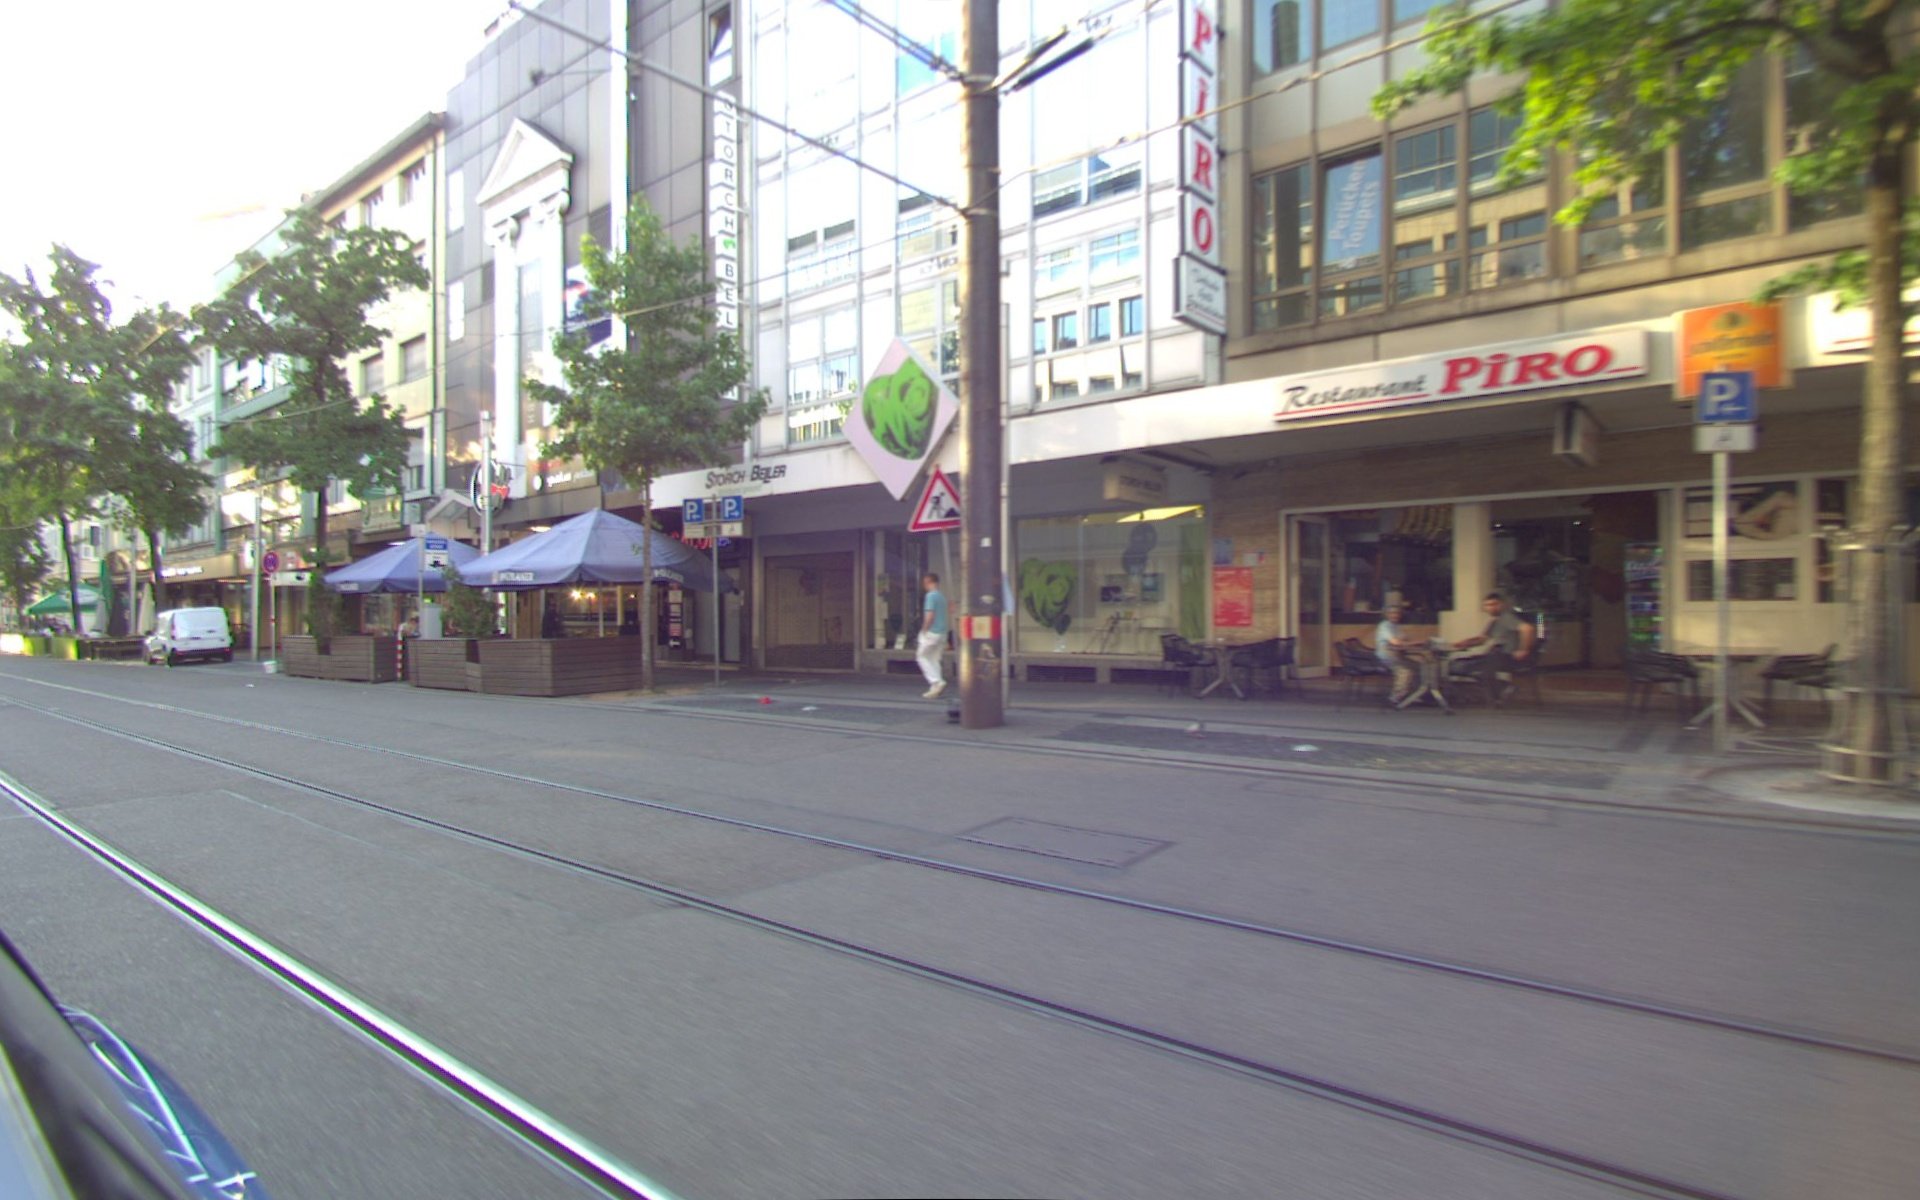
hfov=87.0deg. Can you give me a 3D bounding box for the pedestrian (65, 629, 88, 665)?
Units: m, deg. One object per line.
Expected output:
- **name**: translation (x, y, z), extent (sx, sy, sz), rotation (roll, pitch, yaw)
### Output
- **pedestrian**: translation (-37.168, 1.969, 42.554), extent (0.650, 1.471, 0.641), rotation (-2, -2, 41)

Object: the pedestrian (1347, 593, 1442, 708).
- **pedestrian**: translation (5.349, 0.594, 12.467), extent (0.911, 1.335, 0.664), rotation (-1, 1, 39)

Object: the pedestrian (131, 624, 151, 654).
- **pedestrian**: translation (-41.340, 1.976, 51.100), extent (0.649, 1.471, 0.642), rotation (-2, -2, 37)

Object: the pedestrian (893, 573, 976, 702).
- **pedestrian**: translation (-0.373, 0.533, 14.876), extent (0.676, 1.806, 0.991), rotation (-3, 1, -45)

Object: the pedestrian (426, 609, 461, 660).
- **pedestrian**: translation (-15.462, 1.019, 30.301), extent (0.642, 1.444, 0.654), rotation (0, 4, 40)

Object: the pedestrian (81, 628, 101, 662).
- **pedestrian**: translation (-38.820, 1.999, 45.205), extent (0.639, 1.471, 0.651), rotation (0, -2, -37)

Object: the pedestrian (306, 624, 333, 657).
- **pedestrian**: translation (-23.947, 1.497, 37.822), extent (0.648, 1.184, 0.642), rotation (-1, 0, 35)

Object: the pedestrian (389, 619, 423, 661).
- **pedestrian**: translation (-16.935, 1.214, 30.928), extent (0.665, 1.237, 0.635), rotation (-1, 4, 38)

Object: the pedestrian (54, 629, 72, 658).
- **pedestrian**: translation (-44.262, 2.123, 49.909), extent (0.640, 1.396, 0.651), rotation (0, -2, -43)

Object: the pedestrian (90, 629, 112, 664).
- **pedestrian**: translation (-36.549, 1.962, 43.060), extent (0.639, 1.471, 0.652), rotation (0, -1, -33)

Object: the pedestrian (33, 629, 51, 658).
- **pedestrian**: translation (-45.603, 2.143, 50.269), extent (0.640, 1.396, 0.651), rotation (0, -2, -43)

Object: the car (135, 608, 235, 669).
- **car**: translation (-26.074, 1.253, 34.003), extent (4.328, 1.835, 1.807), rotation (-2, 1, 42)

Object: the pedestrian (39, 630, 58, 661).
- **pedestrian**: translation (-41.974, 2.084, 46.608), extent (0.640, 1.396, 0.651), rotation (0, -2, -43)

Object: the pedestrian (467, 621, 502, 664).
- **pedestrian**: translation (-13.555, 1.204, 28.849), extent (0.665, 1.165, 0.635), rotation (-1, 2, 38)

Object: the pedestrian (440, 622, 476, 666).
- **pedestrian**: translation (-13.954, 1.208, 28.137), extent (0.665, 1.165, 0.635), rotation (-1, 2, 38)

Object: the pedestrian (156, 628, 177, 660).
- **pedestrian**: translation (-37.176, 2.055, 47.411), extent (0.649, 1.471, 0.642), rotation (-2, -2, 38)

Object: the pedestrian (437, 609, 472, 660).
- **pedestrian**: translation (-14.905, 1.010, 29.846), extent (0.642, 1.444, 0.654), rotation (0, 4, 40)

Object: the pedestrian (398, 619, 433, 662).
- **pedestrian**: translation (-16.299, 1.204, 30.286), extent (0.665, 1.237, 0.635), rotation (-1, 4, 38)

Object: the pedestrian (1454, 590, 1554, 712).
- **pedestrian**: translation (6.345, 0.575, 11.798), extent (0.911, 1.335, 0.664), rotation (-1, 1, 39)

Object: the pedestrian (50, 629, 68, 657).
- **pedestrian**: translation (-45.151, 2.138, 50.726), extent (0.640, 1.396, 0.651), rotation (0, -2, -43)

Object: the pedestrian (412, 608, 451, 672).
- **pedestrian**: translation (-13.358, 1.010, 25.597), extent (0.564, 1.564, 0.650), rotation (-1, 2, 38)

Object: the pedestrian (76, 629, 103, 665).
- **pedestrian**: translation (-36.269, 1.956, 42.166), extent (0.639, 1.471, 0.652), rotation (0, -1, -20)
